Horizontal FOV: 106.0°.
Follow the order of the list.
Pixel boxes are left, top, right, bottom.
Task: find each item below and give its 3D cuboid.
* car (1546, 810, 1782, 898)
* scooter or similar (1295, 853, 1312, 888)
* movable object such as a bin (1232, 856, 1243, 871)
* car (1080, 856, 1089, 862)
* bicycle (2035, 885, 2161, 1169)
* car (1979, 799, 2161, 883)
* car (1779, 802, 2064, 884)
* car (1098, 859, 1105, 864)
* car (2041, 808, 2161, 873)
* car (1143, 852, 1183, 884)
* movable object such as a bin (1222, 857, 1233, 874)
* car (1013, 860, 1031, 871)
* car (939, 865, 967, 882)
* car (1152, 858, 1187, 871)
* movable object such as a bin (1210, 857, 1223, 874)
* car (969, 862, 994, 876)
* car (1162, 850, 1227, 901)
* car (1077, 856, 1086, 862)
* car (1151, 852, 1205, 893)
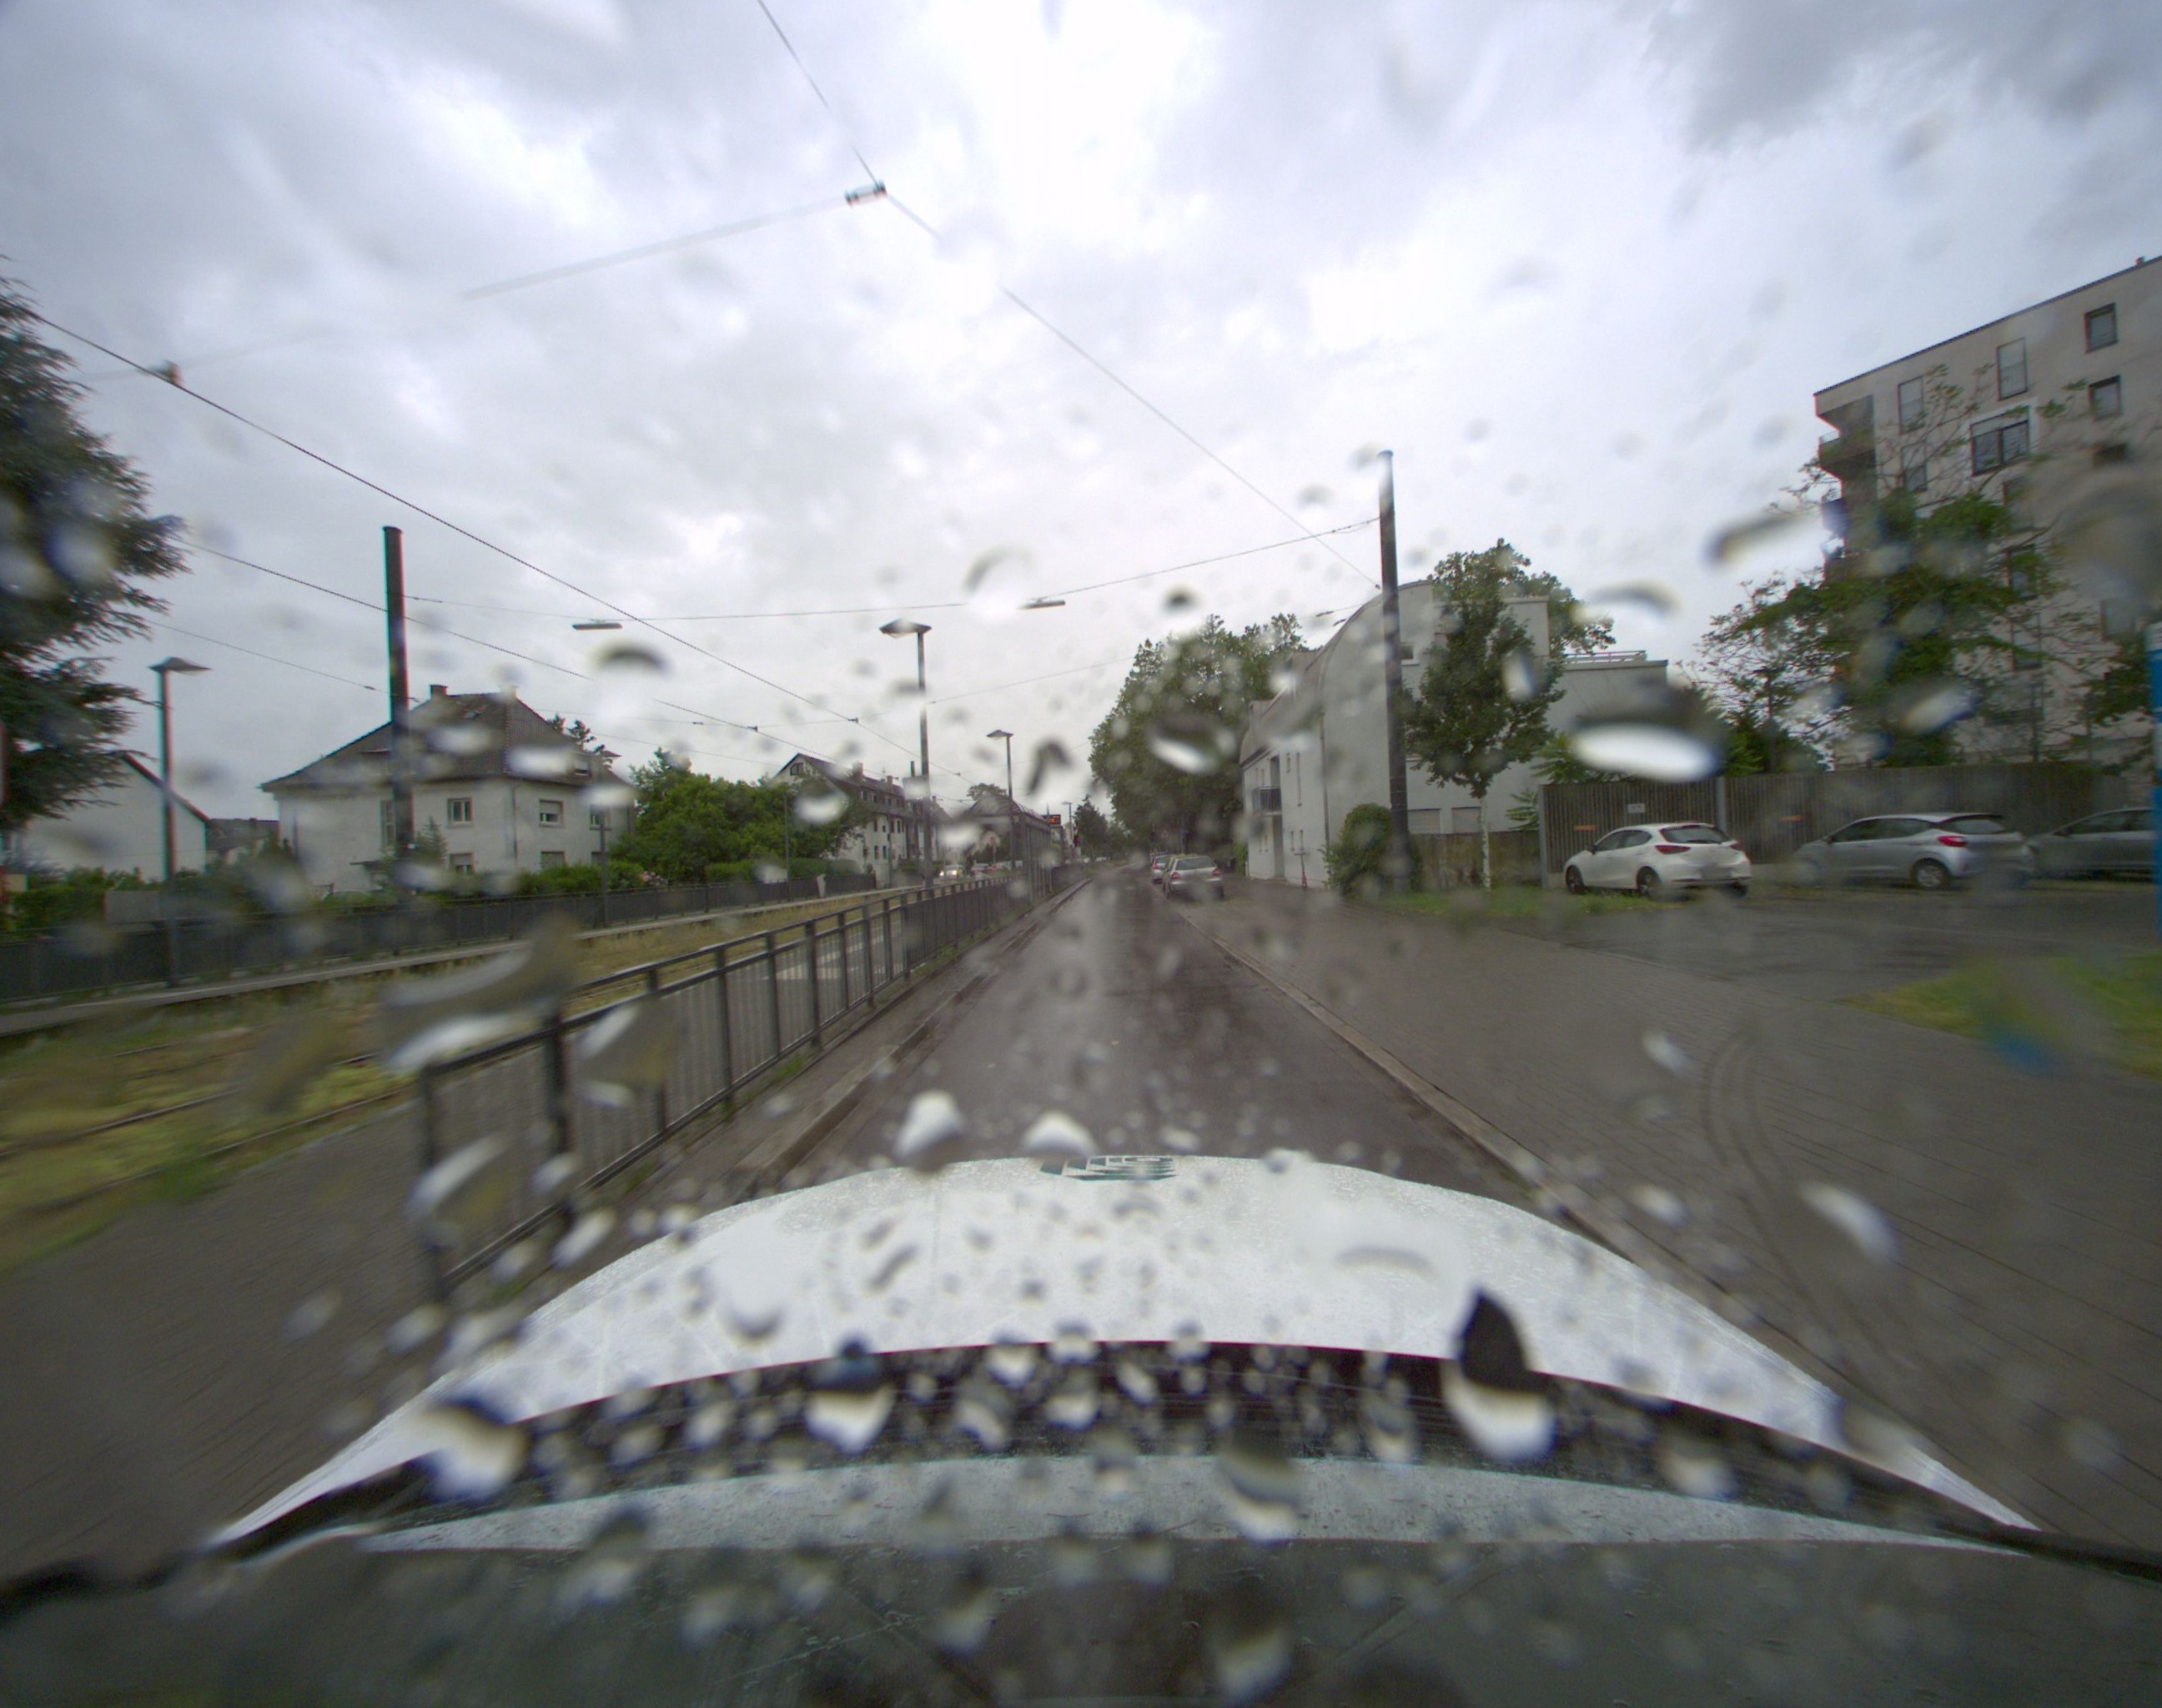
[{"bbox_3d":[11.746,-0.008,16.854,1.954,1.535,4.368,-2,0,4],"label":"car"},{"bbox_3d":[7.170,0.533,26.270,0.331,1.085,1.398,-2,-1,8],"label":"scooter or similar"},{"bbox_3d":[9.975,0.621,51.894,0.534,0.899,0.739,-5,-1,2],"label":"movable object such as a bin"},{"bbox_3d":[0.845,1.294,214.855,1.919,1.486,4.006,-2,-1,6],"label":"car"},{"bbox_3d":[4.544,0.670,2.618,0.535,1.093,1.945,-1,-1,-5],"label":"bicycle"},{"bbox_3d":[20.897,-0.271,15.949,1.954,1.535,4.368,-2,0,4],"label":"car"},{"bbox_3d":[16.864,-0.213,16.632,1.959,1.447,3.660,-2,0,-3],"label":"car"},{"bbox_3d":[6.540,2.468,258.222,1.919,1.486,4.006,-2,-1,6],"label":"car"},{"bbox_3d":[26.207,-0.342,19.145,1.973,1.535,4.328,-2,0,-25],"label":"car"},{"bbox_3d":[4.320,0.756,43.208,1.799,1.467,3.796,-6,-1,3],"label":"car"},{"bbox_3d":[9.379,0.727,52.065,0.534,1.022,0.739,-5,-1,2],"label":"movable object such as a bin"},{"bbox_3d":[-8.493,1.721,117.152,1.919,1.486,4.006,-2,-1,6],"label":"car"},{"bbox_3d":[-11.617,1.775,74.083,1.626,1.493,4.003,-2,-1,4],"label":"car"},{"bbox_3d":[11.014,1.333,101.389,3.990,1.453,1.992,-1,-1,-12],"label":"car"},{"bbox_3d":[8.780,0.752,52.748,0.690,1.022,0.824,-5,-1,2],"label":"movable object such as a bin"},{"bbox_3d":[-11.207,1.670,92.330,1.919,1.486,4.006,-2,-1,6],"label":"car"},{"bbox_3d":[3.740,0.708,27.506,1.643,1.405,4.652,-6,-1,3],"label":"car"},{"bbox_3d":[0.081,1.179,203.550,1.919,1.486,4.006,-2,-1,6],"label":"car"},{"bbox_3d":[3.858,0.743,32.946,1.799,1.405,3.796,-6,-1,3],"label":"car"}]
